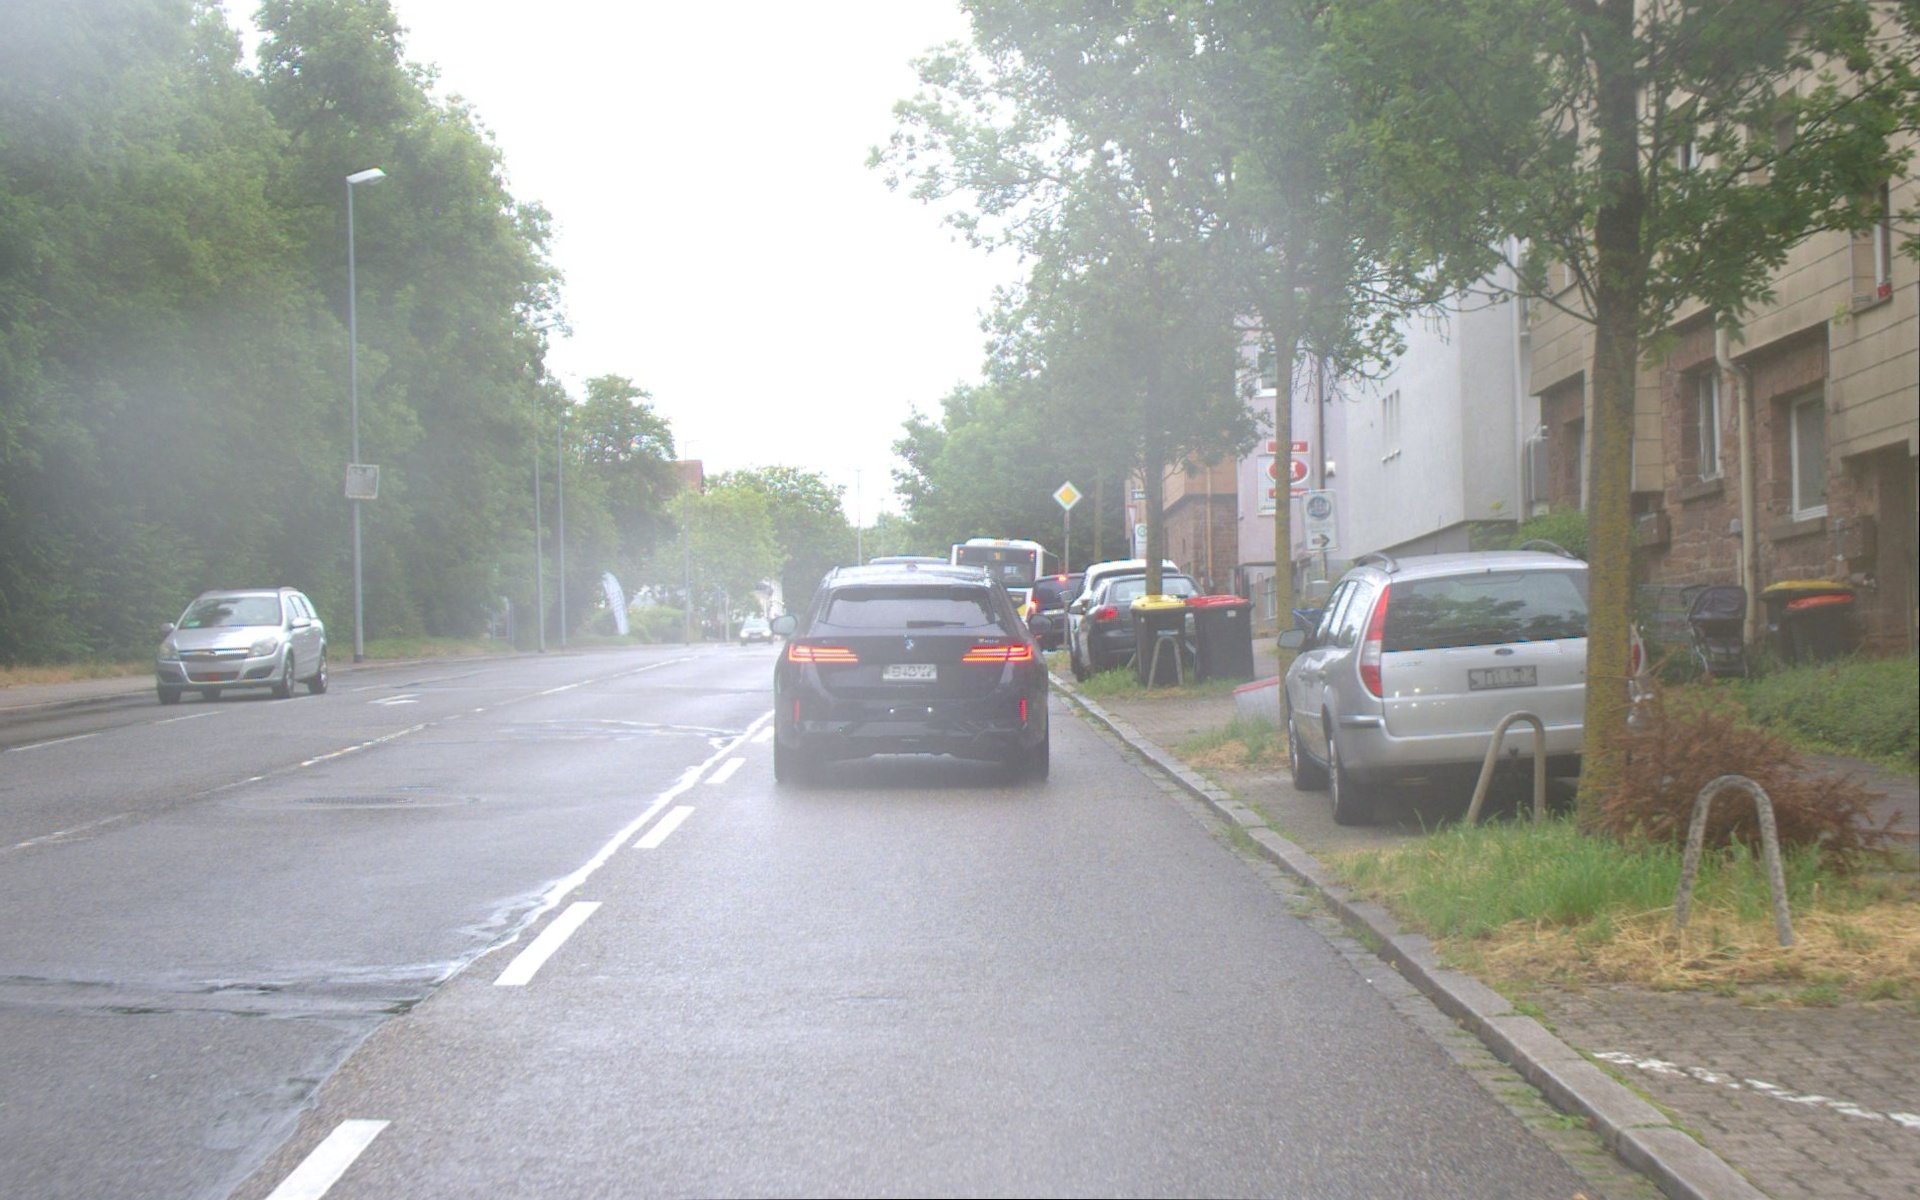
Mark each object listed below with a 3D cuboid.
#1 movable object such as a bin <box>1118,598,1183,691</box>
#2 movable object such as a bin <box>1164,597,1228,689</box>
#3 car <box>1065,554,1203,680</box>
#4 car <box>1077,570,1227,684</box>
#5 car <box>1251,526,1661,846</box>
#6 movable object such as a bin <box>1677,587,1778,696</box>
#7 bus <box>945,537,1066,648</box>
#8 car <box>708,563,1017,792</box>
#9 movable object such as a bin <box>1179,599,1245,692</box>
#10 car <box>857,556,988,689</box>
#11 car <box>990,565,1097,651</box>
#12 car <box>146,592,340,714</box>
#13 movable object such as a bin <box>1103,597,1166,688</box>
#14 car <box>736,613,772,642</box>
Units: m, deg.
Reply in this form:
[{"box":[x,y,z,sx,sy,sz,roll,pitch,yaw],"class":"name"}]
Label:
[{"box":[2.238,0.522,40.515,0.619,1.046,0.822,-3,1,-3],"class":"movable object such as a bin"},{"box":[2.841,0.512,41.423,0.619,1.046,0.822,-3,1,-3],"class":"movable object such as a bin"},{"box":[2.579,0.225,51.774,1.824,1.766,4.541,-2,0,0],"class":"car"},{"box":[2.538,0.353,46.282,1.641,1.444,3.998,-1,0,-2],"class":"car"},{"box":[2.834,0.407,20.590,1.702,1.579,4.643,-4,1,0],"class":"car"},{"box":[7.042,0.377,31.578,0.700,0.962,0.941,1,1,0],"class":"movable object such as a bin"},{"box":[1.322,-0.237,94.449,2.623,2.838,8.287,-2,0,5],"class":"bus"},{"box":[-0.673,0.502,24.723,1.993,1.448,4.000,2,0,-1],"class":"car"},{"box":[2.970,0.531,40.501,0.619,1.046,0.822,-3,1,-3],"class":"movable object such as a bin"},{"box":[-0.588,0.334,54.345,1.993,2.007,4.000,0,0,0],"class":"car"},{"box":[2.058,0.217,82.994,1.927,1.886,4.759,-4,-1,8],"class":"car"},{"box":[-9.565,0.670,46.177,1.689,1.478,4.452,-3,0,-1],"class":"car"},{"box":[2.103,0.503,41.413,0.619,1.046,0.822,-3,1,-3],"class":"movable object such as a bin"},{"box":[-11.550,1.541,192.472,1.770,1.528,4.000,-2,0,-1],"class":"car"}]
